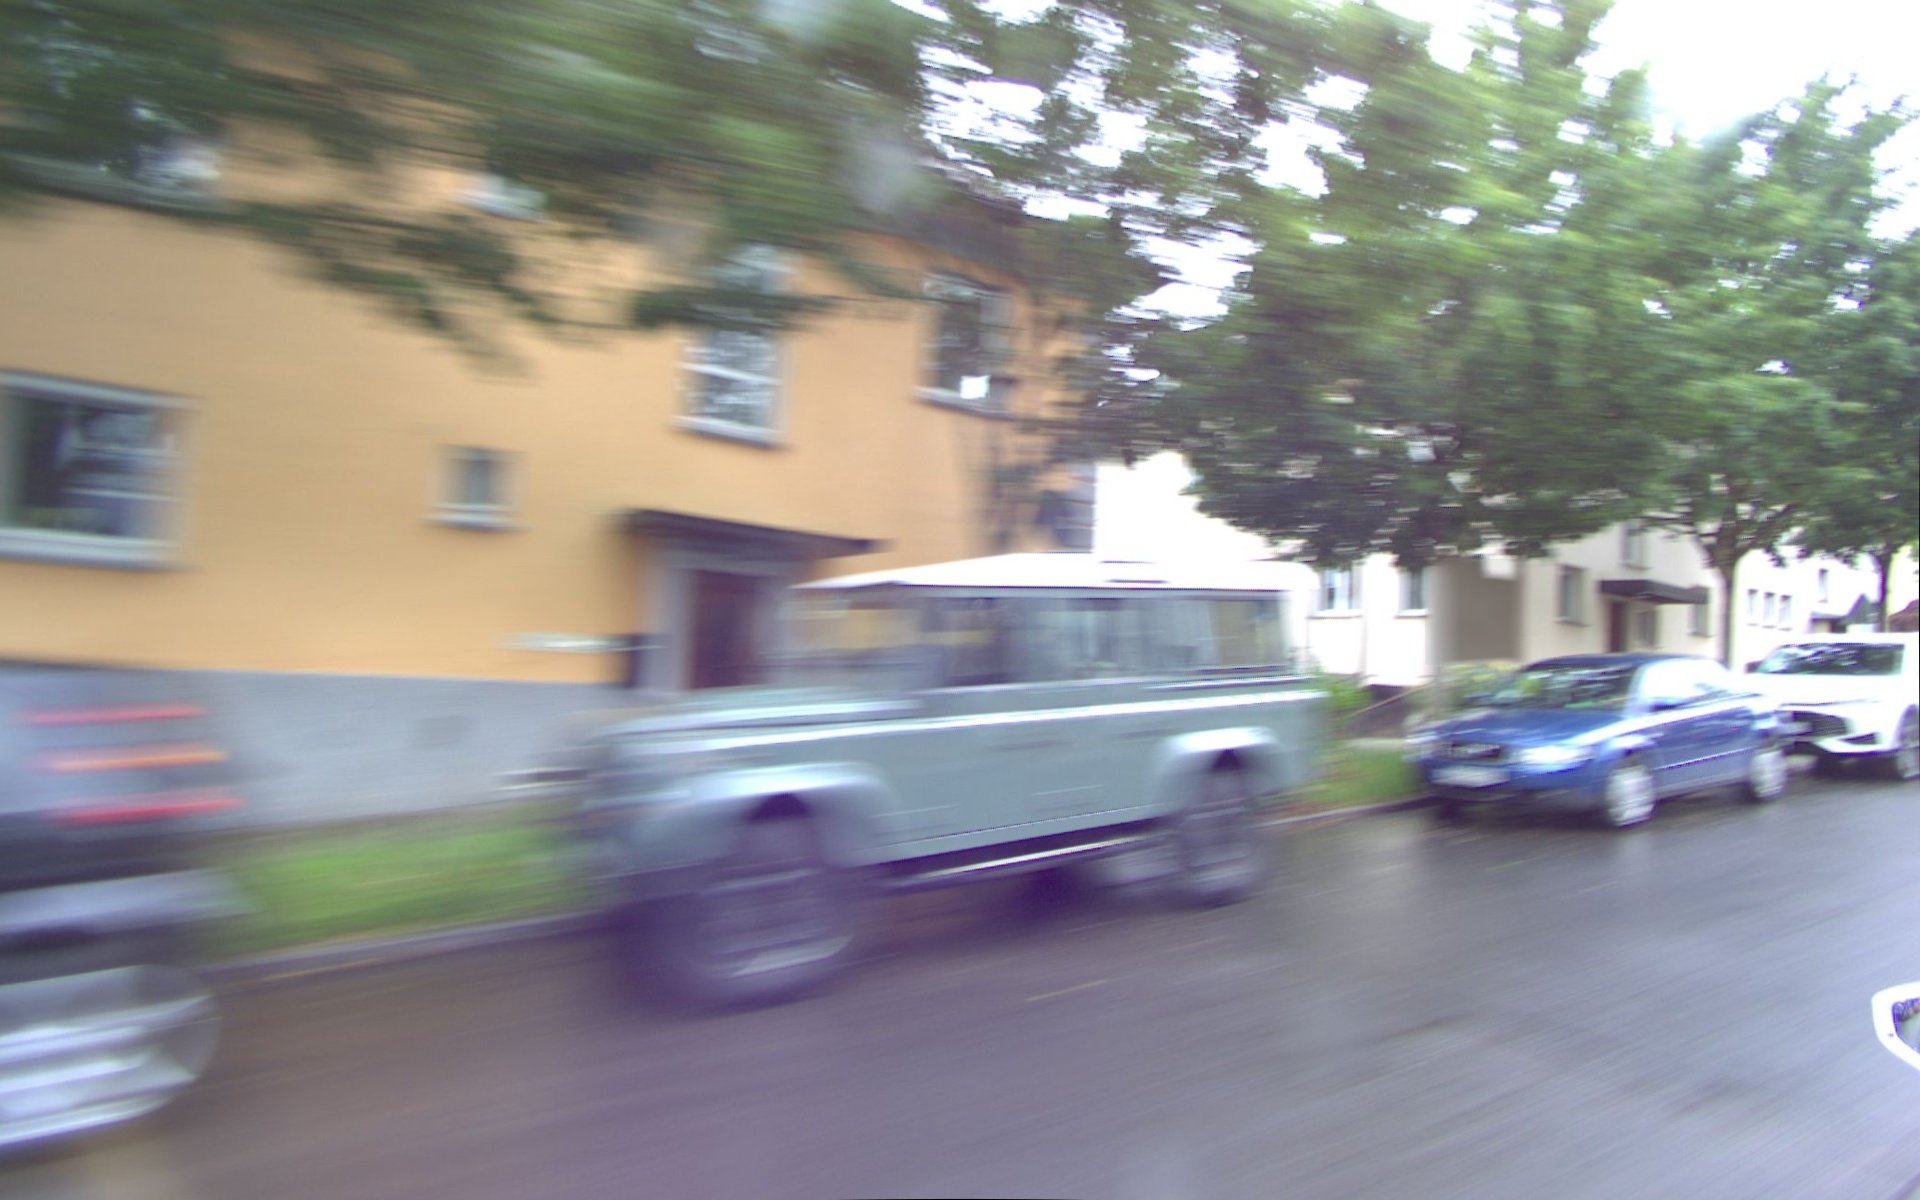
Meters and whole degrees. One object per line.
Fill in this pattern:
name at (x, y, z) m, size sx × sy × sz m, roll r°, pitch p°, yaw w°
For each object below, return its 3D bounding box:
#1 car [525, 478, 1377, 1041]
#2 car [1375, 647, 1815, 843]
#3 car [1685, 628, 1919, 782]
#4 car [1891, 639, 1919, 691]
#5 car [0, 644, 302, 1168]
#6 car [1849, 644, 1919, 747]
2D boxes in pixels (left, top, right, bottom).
car at (0.179, 0.670, 5.815) m, size 4.732 × 2.076 × 1.781 m, roll 1°, pitch -4°, yaw -34°
car at (6.203, 1.195, 9.651) m, size 4.582 × 1.405 × 1.759 m, roll 0°, pitch -2°, yaw -32°
car at (11.316, 1.235, 12.696) m, size 4.635 × 1.648 × 1.760 m, roll 2°, pitch -3°, yaw -30°
car at (34.471, 2.140, 34.539) m, size 1.462 × 1.762 × 3.199 m, roll 0°, pitch -7°, yaw -29°
car at (-4.369, 0.843, 2.685) m, size 4.304 × 1.455 × 1.757 m, roll 2°, pitch -3°, yaw -35°
car at (15.771, 1.469, 15.673) m, size 3.962 × 1.492 × 1.759 m, roll 2°, pitch -3°, yaw -31°
